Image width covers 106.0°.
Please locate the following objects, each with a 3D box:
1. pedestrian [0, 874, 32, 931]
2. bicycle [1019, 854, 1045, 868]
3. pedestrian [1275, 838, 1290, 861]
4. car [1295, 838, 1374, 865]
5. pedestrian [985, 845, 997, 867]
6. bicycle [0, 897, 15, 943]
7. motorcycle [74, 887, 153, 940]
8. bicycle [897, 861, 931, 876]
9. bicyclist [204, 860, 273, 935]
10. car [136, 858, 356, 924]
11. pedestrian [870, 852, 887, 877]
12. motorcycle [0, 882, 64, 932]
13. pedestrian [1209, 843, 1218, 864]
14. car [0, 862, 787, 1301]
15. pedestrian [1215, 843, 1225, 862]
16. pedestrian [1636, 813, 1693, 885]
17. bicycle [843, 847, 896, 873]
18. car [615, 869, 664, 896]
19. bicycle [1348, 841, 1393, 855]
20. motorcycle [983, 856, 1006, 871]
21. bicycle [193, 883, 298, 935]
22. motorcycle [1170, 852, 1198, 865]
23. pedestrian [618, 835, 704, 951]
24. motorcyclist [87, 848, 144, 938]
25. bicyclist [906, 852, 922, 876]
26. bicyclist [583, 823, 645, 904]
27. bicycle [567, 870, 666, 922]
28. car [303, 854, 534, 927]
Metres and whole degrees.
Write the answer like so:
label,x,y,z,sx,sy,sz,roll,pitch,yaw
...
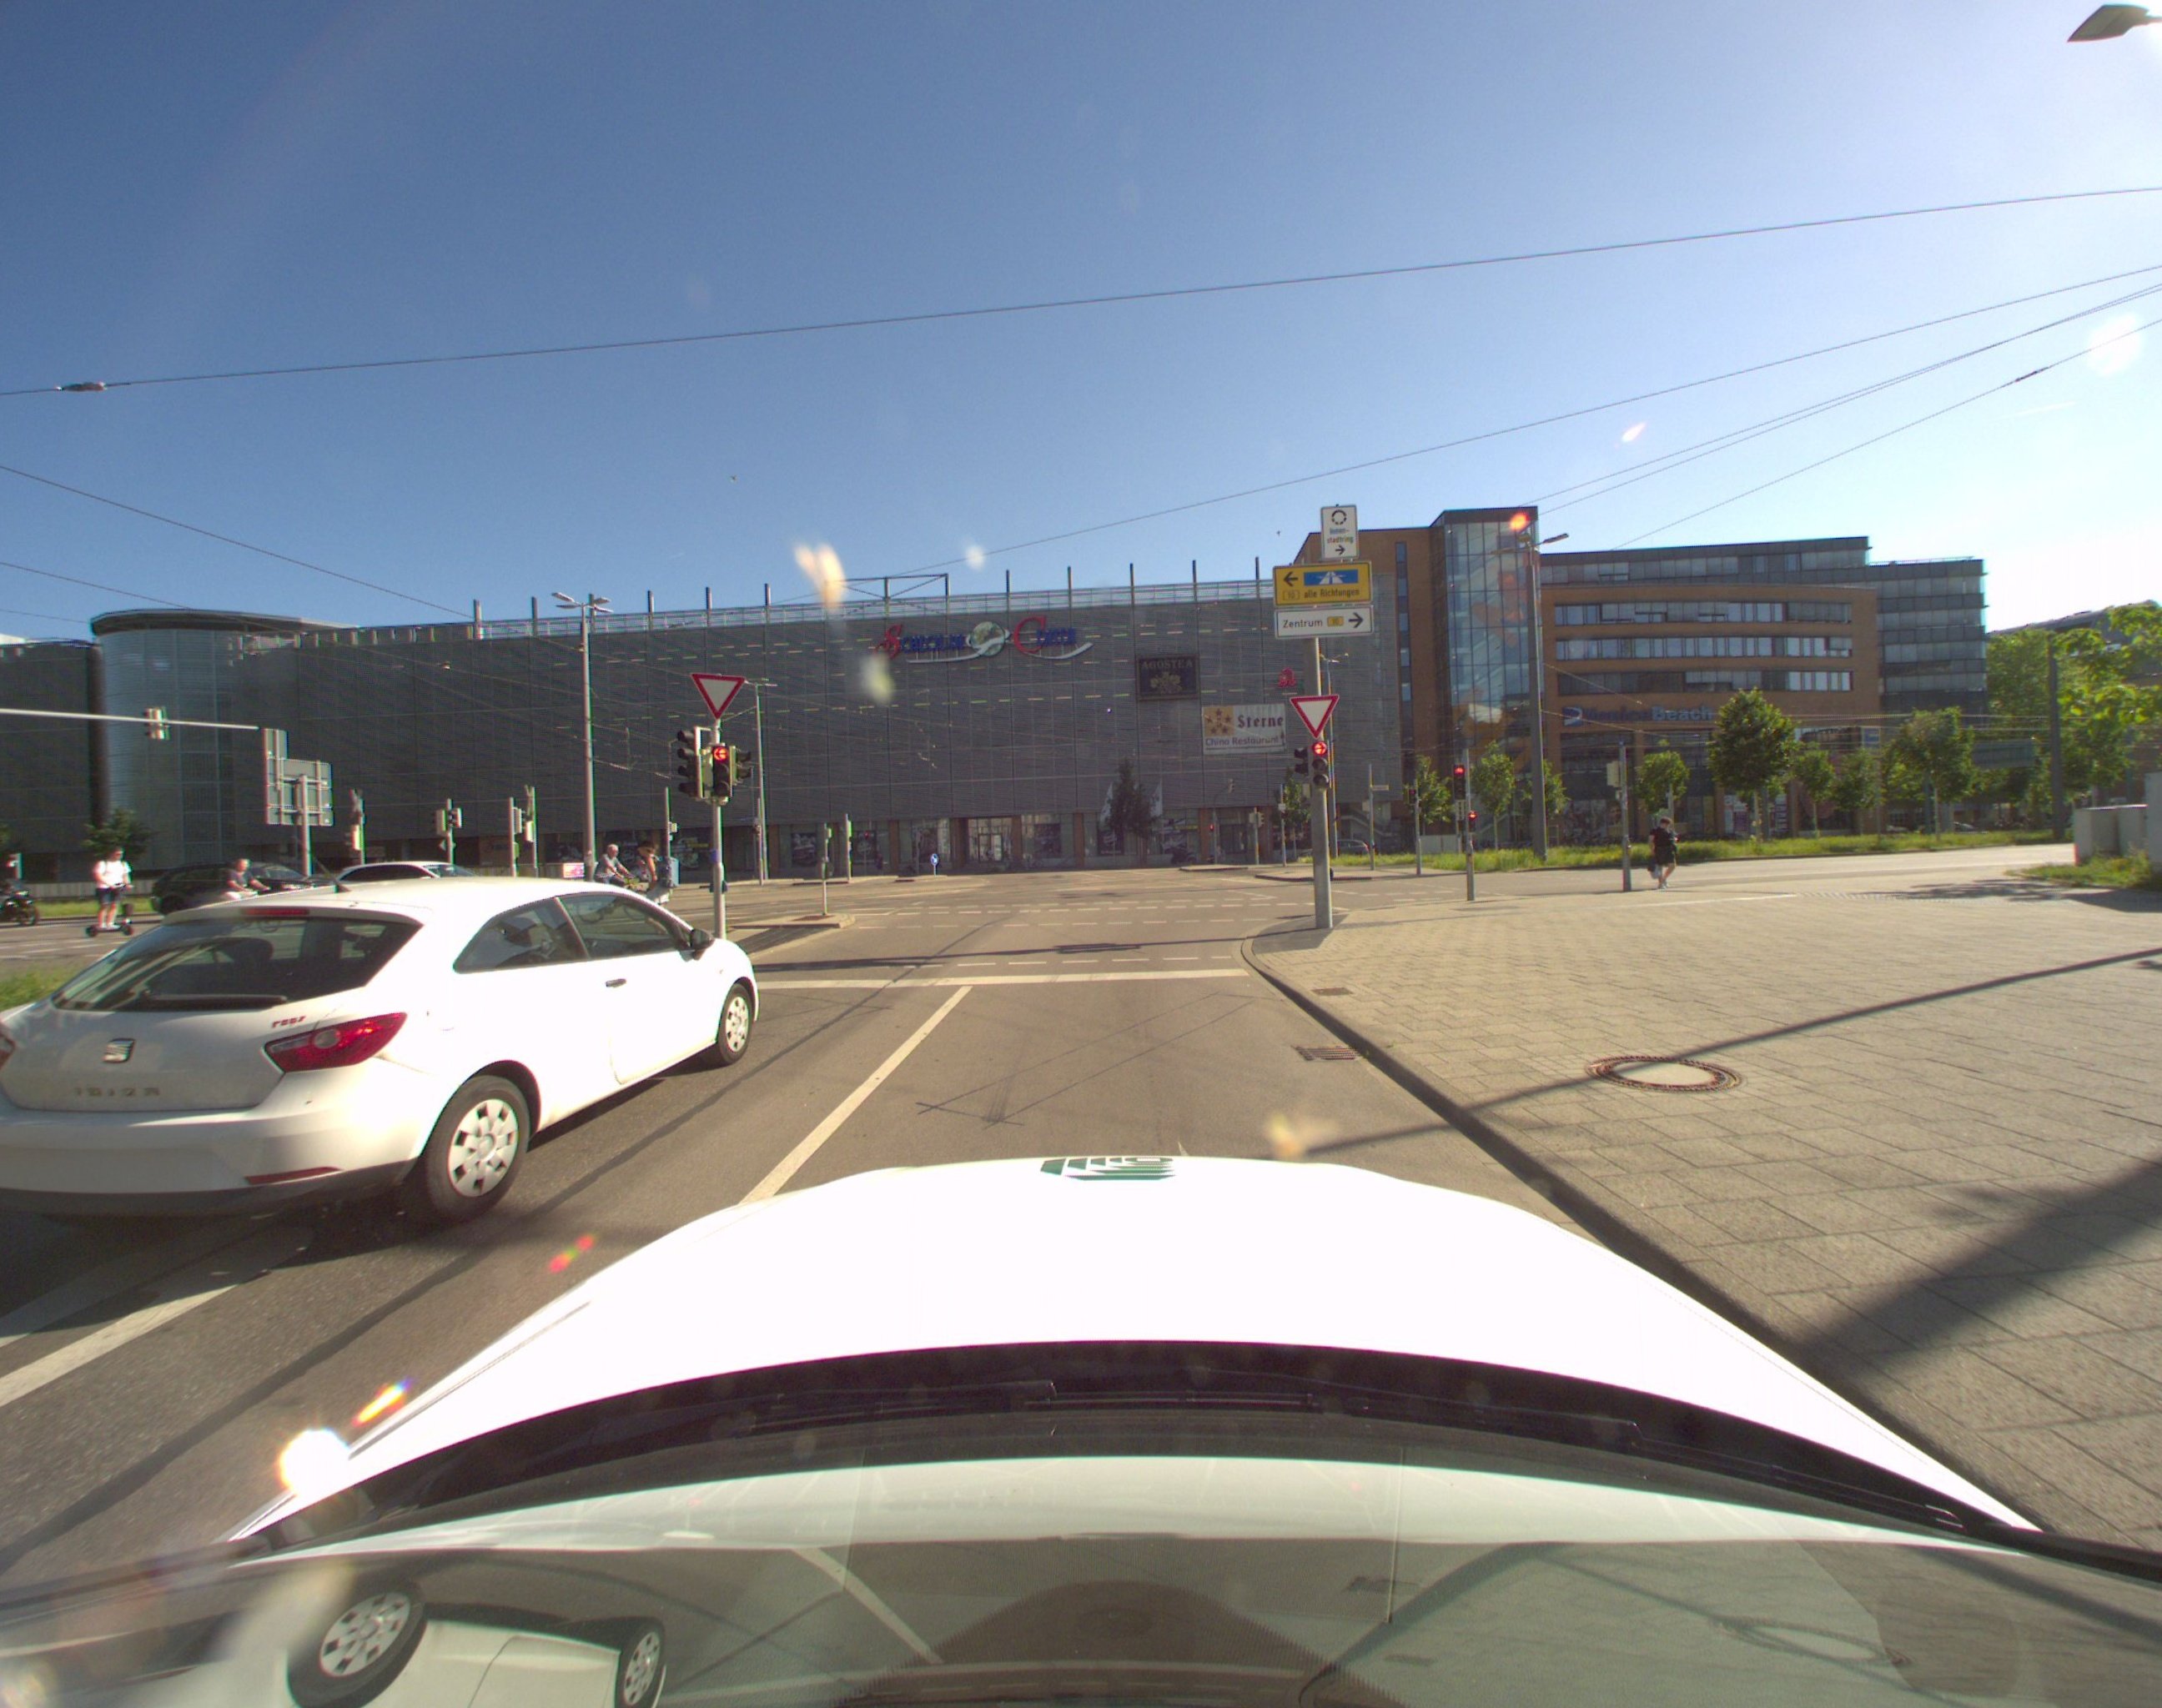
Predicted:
label,x,y,z,sx,sy,sz,roll,pitch,yaw
pedestrian,-32.536,1.472,24.617,0.741,1.677,0.665,-1,0,1
bicycle,-4.032,0.558,66.898,2.019,1.059,1.145,-2,0,1
pedestrian,15.447,-0.360,62.345,0.852,1.738,0.752,-2,0,-5
car,15.953,-0.159,51.420,4.470,1.494,1.495,-2,0,1
pedestrian,-7.459,0.134,67.238,0.845,1.763,0.620,-2,0,1
bicycle,-25.867,1.560,18.642,1.920,1.036,0.694,-2,0,-2
motorcycle,-22.054,1.355,18.571,1.182,1.121,0.483,-2,0,1
bicycle,-12.559,1.078,61.311,2.256,1.070,1.034,-2,0,-39
bicyclist,-19.206,0.976,18.580,0.780,1.648,0.690,-2,0,-1
car,-24.954,1.075,24.464,4.620,1.718,1.839,-2,1,0
pedestrian,-15.298,0.821,61.512,0.894,1.868,0.826,-2,0,44
motorcycle,-32.592,1.598,24.631,2.435,1.419,0.915,-1,0,0
pedestrian,9.989,-0.040,61.452,0.587,1.534,0.658,-2,0,1
car,-3.251,0.797,4.685,1.626,1.423,3.783,1,0,1
pedestrian,10.617,-0.097,62.151,0.587,1.462,0.658,-2,0,1
pedestrian,14.188,-0.120,19.807,0.803,1.708,0.762,-2,0,1
bicycle,-17.675,0.505,68.190,3.972,2.013,1.330,-1,1,1
car,-31.850,2.033,58.701,3.948,1.794,1.769,-1,0,39
bicycle,23.760,-0.499,66.844,3.342,1.077,1.119,-1,1,7
motorcycle,-6.599,0.694,61.942,1.641,1.059,0.499,-2,0,11
bicycle,-19.052,1.244,18.596,1.571,1.107,0.734,-2,0,-1
motorcycle,8.433,0.369,66.711,2.194,1.042,1.062,-1,1,1
pedestrian,-6.459,0.587,12.565,0.882,1.707,0.713,-2,0,1
motorcyclist,-22.019,0.883,18.579,0.625,2.013,0.498,-2,0,1
bicyclist,-12.576,0.742,61.265,0.849,1.803,0.806,-2,0,-40
bicyclist,-11.089,0.215,19.379,0.898,1.859,0.855,-2,0,2
bicycle,-11.051,0.992,19.400,1.822,1.116,0.854,-2,0,1
car,-17.448,0.924,21.628,4.477,1.634,1.838,-2,1,-2
